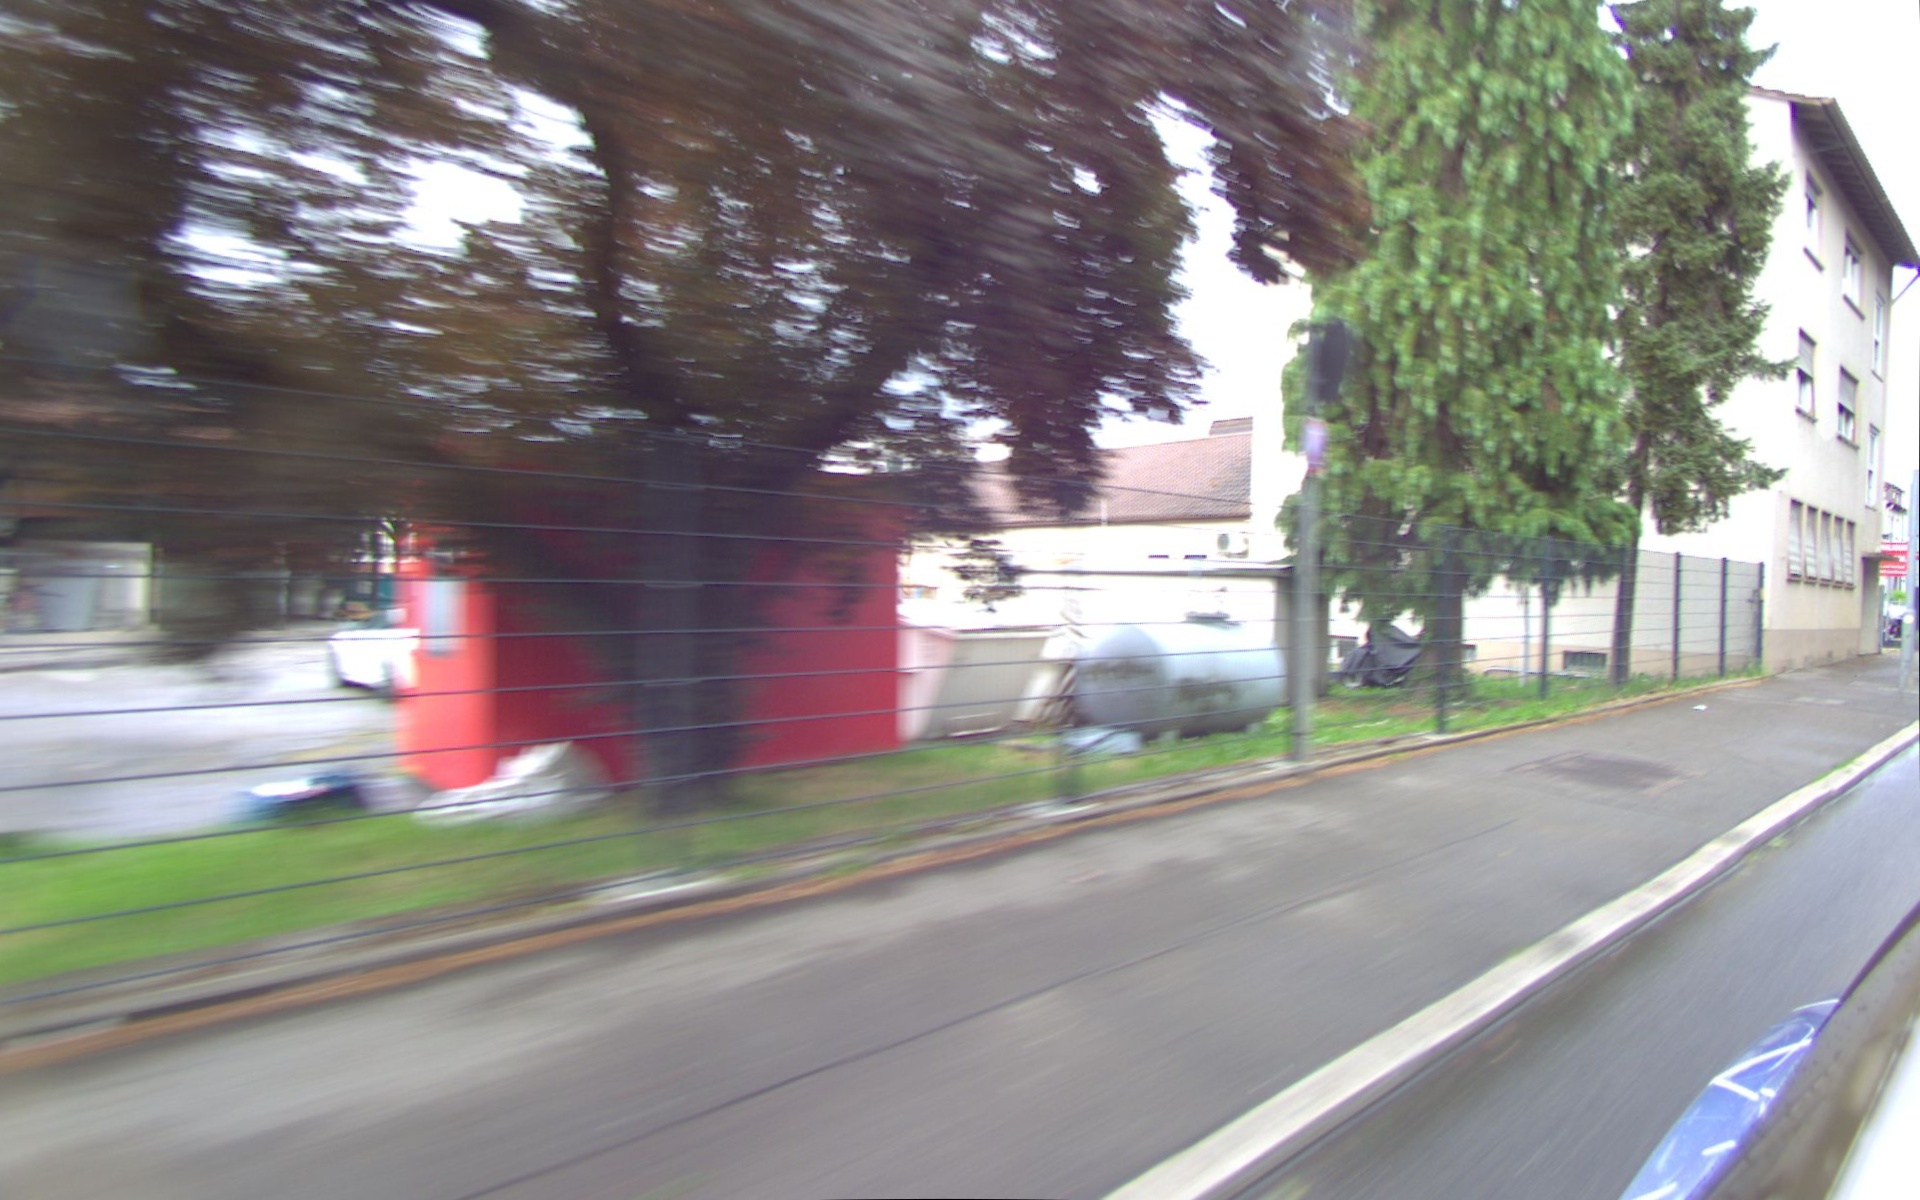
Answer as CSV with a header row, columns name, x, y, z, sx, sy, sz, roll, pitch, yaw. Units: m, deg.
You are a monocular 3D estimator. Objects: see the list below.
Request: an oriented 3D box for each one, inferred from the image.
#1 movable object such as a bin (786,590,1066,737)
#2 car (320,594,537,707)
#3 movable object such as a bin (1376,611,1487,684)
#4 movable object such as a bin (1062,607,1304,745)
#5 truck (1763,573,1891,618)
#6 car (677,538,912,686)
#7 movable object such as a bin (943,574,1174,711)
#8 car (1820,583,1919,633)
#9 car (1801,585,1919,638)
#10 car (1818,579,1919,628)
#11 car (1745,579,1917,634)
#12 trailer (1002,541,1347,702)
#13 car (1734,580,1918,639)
name,x,y,z,sx,sy,sz,roll,pitch,yaw
movable object such as a bin,-0.517,0.700,12.909,1.860,1.598,3.333,0,-1,-43
car,-8.279,0.662,15.564,1.770,1.441,4.359,1,1,-45
movable object such as a bin,8.180,0.818,17.576,1.196,1.196,1.330,1,-3,-41
movable object such as a bin,2.555,0.746,11.319,1.370,1.337,2.813,-1,-1,45
truck,54.104,-0.246,63.275,2.008,2.670,5.854,-1,1,-40
car,-3.115,0.086,18.208,1.965,2.298,4.830,-2,3,-41
movable object such as a bin,1.385,0.544,14.533,2.048,1.738,2.619,0,-1,-43
car,34.317,0.274,37.160,1.760,1.746,3.956,-1,0,-40
car,32.331,0.391,35.497,1.837,1.758,4.074,-2,1,-40
car,36.052,0.120,38.994,1.965,1.790,4.311,-1,1,-40
car,29.798,0.211,34.724,1.837,1.758,4.236,-2,1,-40
trailer,3.289,0.282,16.627,2.011,2.214,5.429,-2,1,-41
car,27.670,0.272,32.454,1.837,1.758,4.236,-2,1,-40
